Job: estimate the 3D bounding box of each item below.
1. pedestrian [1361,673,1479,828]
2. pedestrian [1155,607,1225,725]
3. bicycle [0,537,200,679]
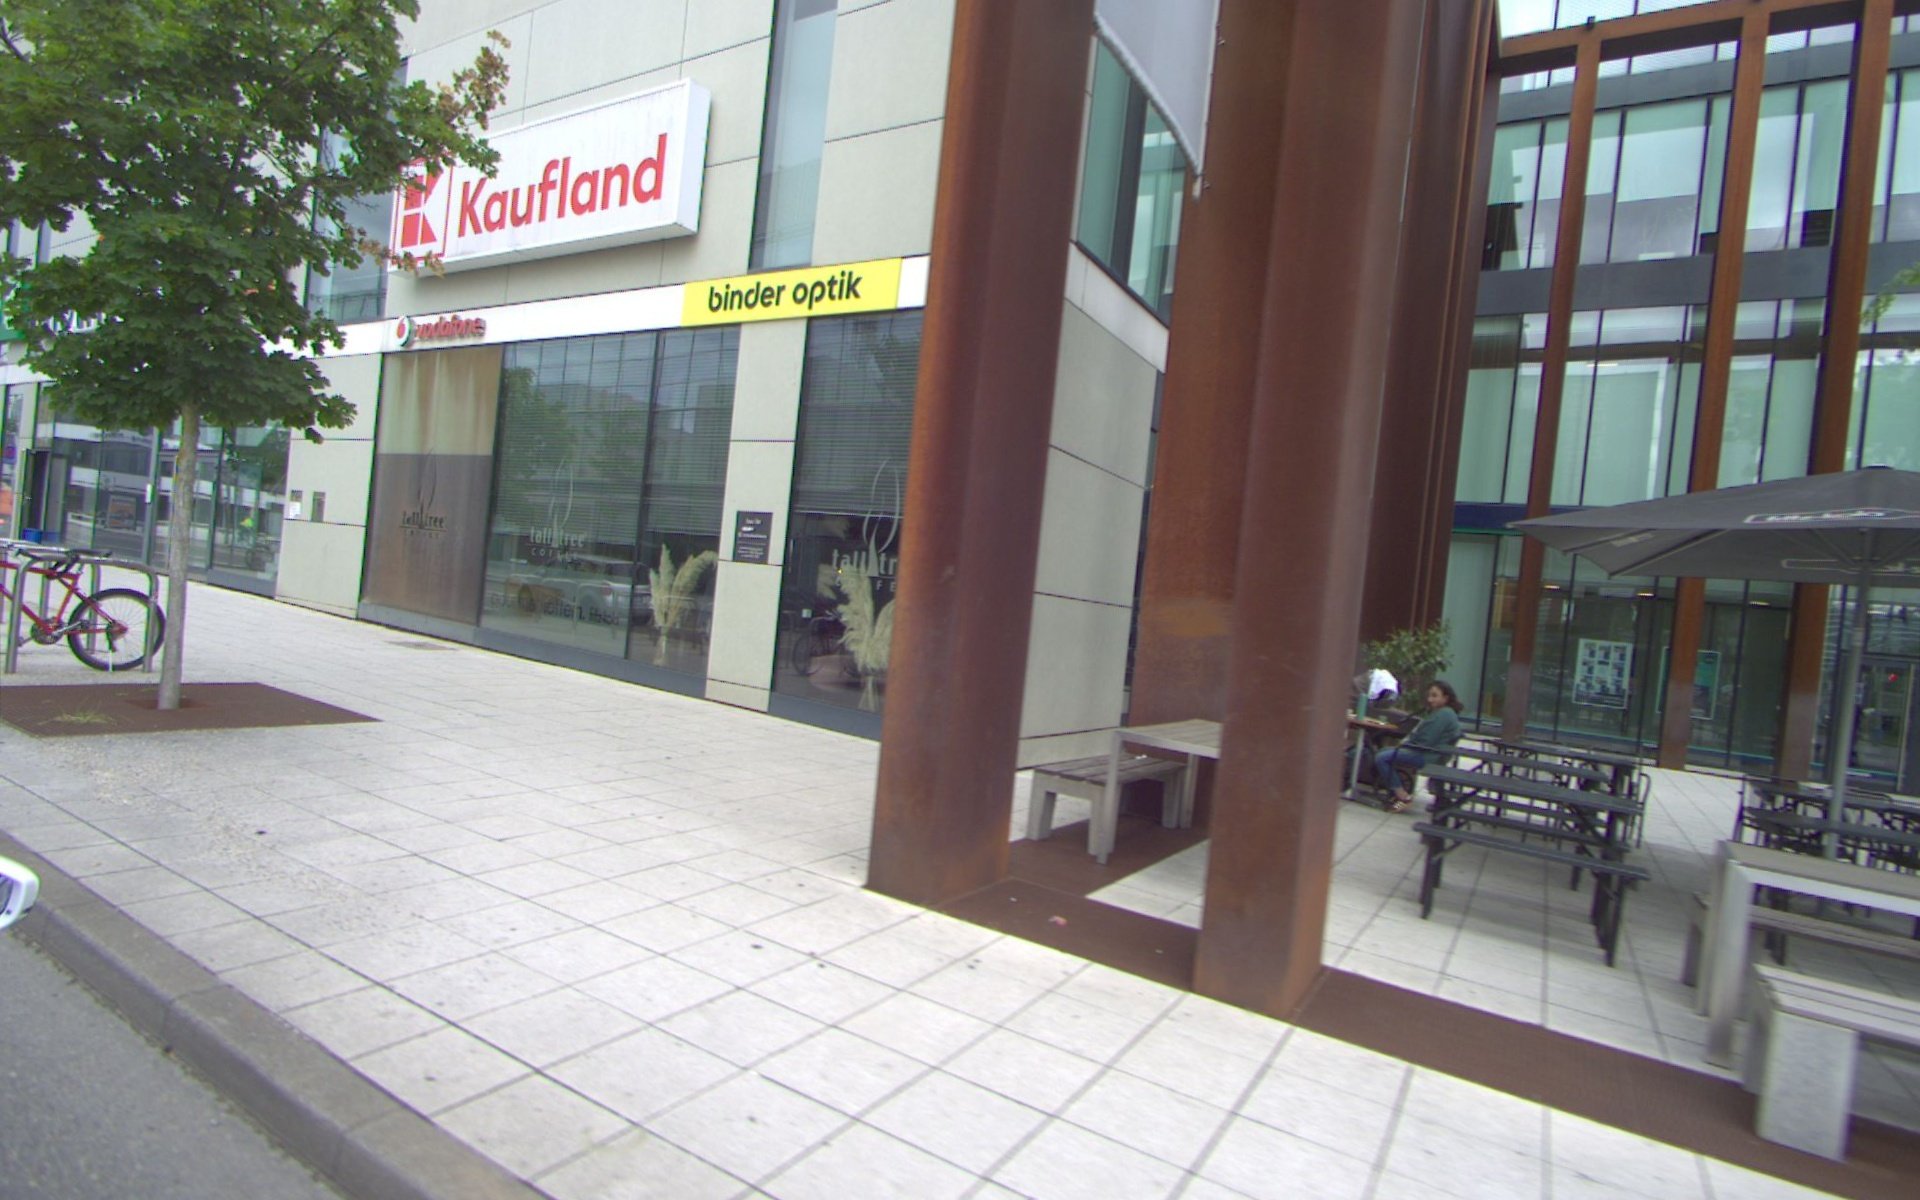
[{"bbox_3d":[4.141,1.322,9.055,0.782,1.224,0.516,8,1,30],"label":"pedestrian"},{"bbox_3d":[3.436,0.979,15.026,0.724,1.653,0.522,7,1,34],"label":"pedestrian"},{"bbox_3d":[-7.035,0.063,7.844,0.740,1.005,1.561,7,0,35],"label":"bicycle"}]
